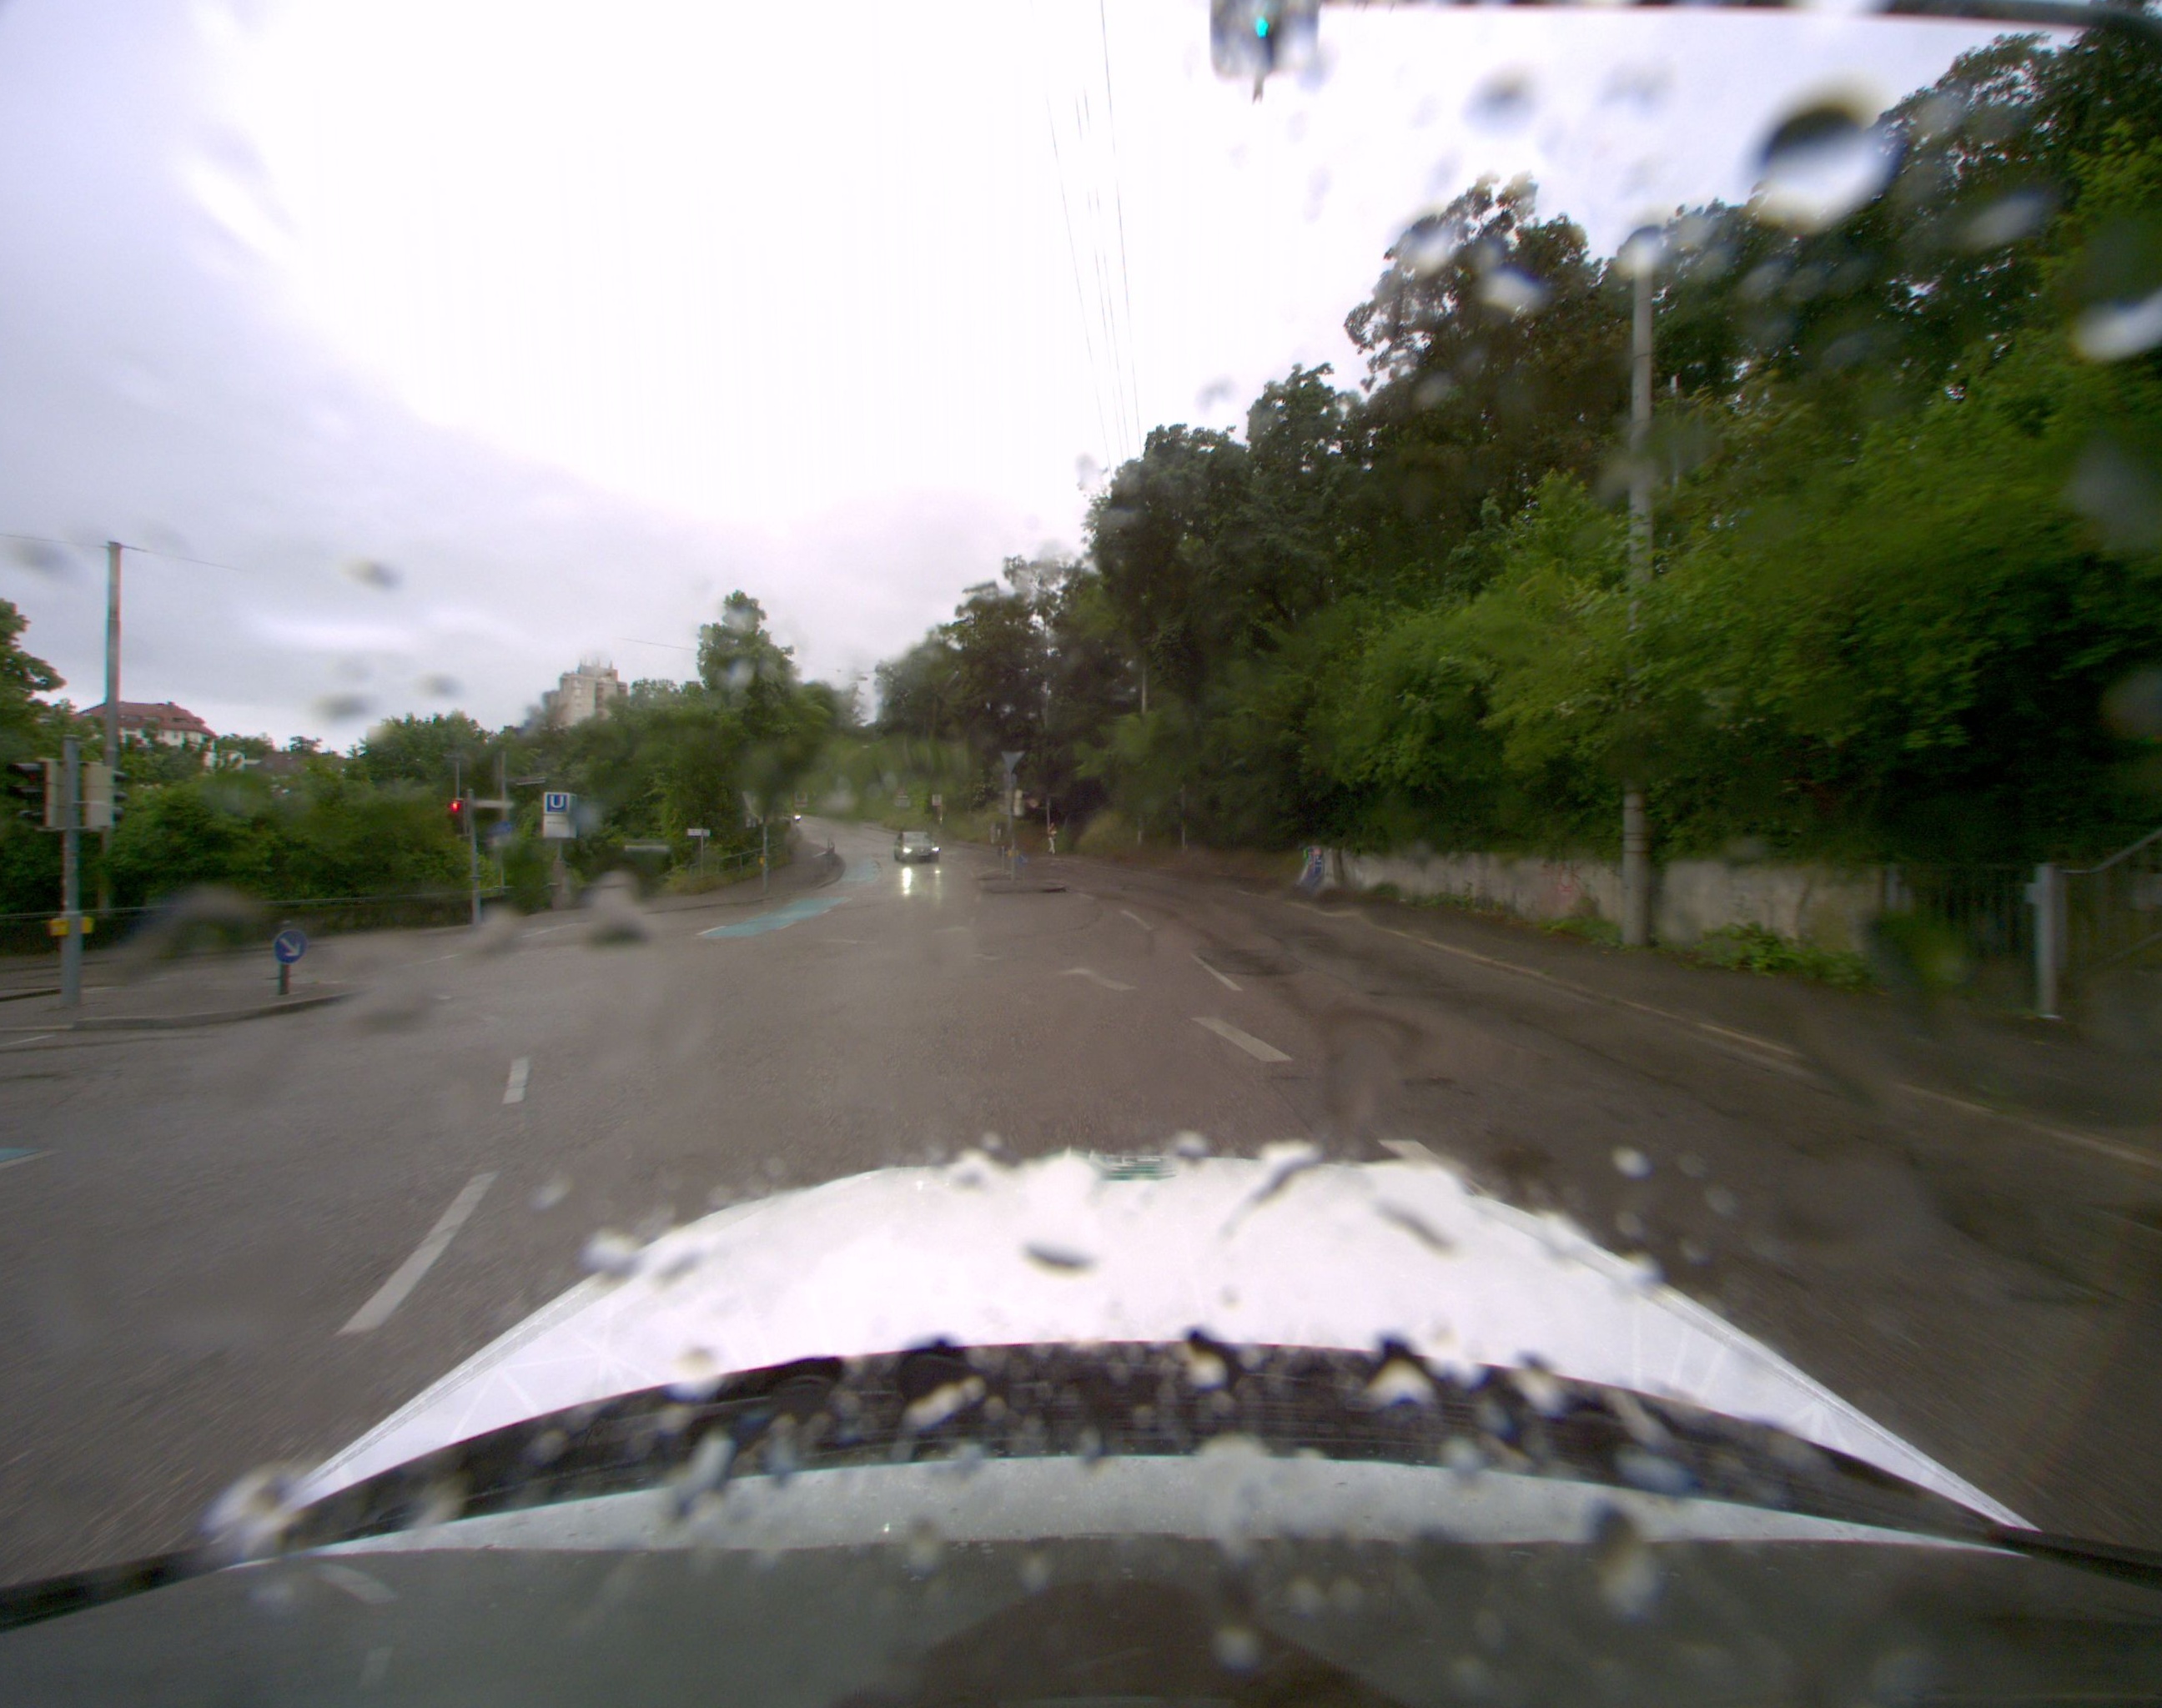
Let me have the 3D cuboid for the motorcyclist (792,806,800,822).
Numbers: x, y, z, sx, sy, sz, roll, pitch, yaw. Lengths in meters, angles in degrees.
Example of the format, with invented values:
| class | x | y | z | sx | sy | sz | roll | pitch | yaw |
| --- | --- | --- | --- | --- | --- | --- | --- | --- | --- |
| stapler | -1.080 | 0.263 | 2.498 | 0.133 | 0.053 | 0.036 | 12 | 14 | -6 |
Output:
| class | x | y | z | sx | sy | sz | roll | pitch | yaw |
| --- | --- | --- | --- | --- | --- | --- | --- | --- | --- |
| motorcyclist | -34.456 | -4.813 | 98.524 | 0.887 | 1.873 | 1.246 | -2 | 4 | -22 |

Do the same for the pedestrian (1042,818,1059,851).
| class | x | y | z | sx | sy | sz | roll | pitch | yaw |
| --- | --- | --- | --- | --- | --- | --- | --- | --- | --- |
| pedestrian | -1.616 | -1.039 | 43.283 | 0.649 | 1.752 | 0.794 | 0 | 3 | -21 |

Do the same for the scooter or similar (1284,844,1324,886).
| class | x | y | z | sx | sy | sz | roll | pitch | yaw |
| --- | --- | --- | --- | --- | --- | --- | --- | --- | --- |
| scooter or similar | 6.073 | 0.285 | 22.249 | 0.600 | 1.075 | 1.768 | 0 | 1 | -1 |

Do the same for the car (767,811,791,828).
| class | x | y | z | sx | sy | sz | roll | pitch | yaw |
| --- | --- | --- | --- | --- | --- | --- | --- | --- | --- |
| car | -32.356 | -3.679 | 87.210 | 1.847 | 1.691 | 3.965 | -3 | 5 | -29 |

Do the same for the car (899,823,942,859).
| class | x | y | z | sx | sy | sz | roll | pitch | yaw |
| --- | --- | --- | --- | --- | --- | --- | --- | --- | --- |
| car | -8.075 | -0.709 | 40.691 | 1.885 | 1.521 | 4.671 | -2 | 4 | -14 |
